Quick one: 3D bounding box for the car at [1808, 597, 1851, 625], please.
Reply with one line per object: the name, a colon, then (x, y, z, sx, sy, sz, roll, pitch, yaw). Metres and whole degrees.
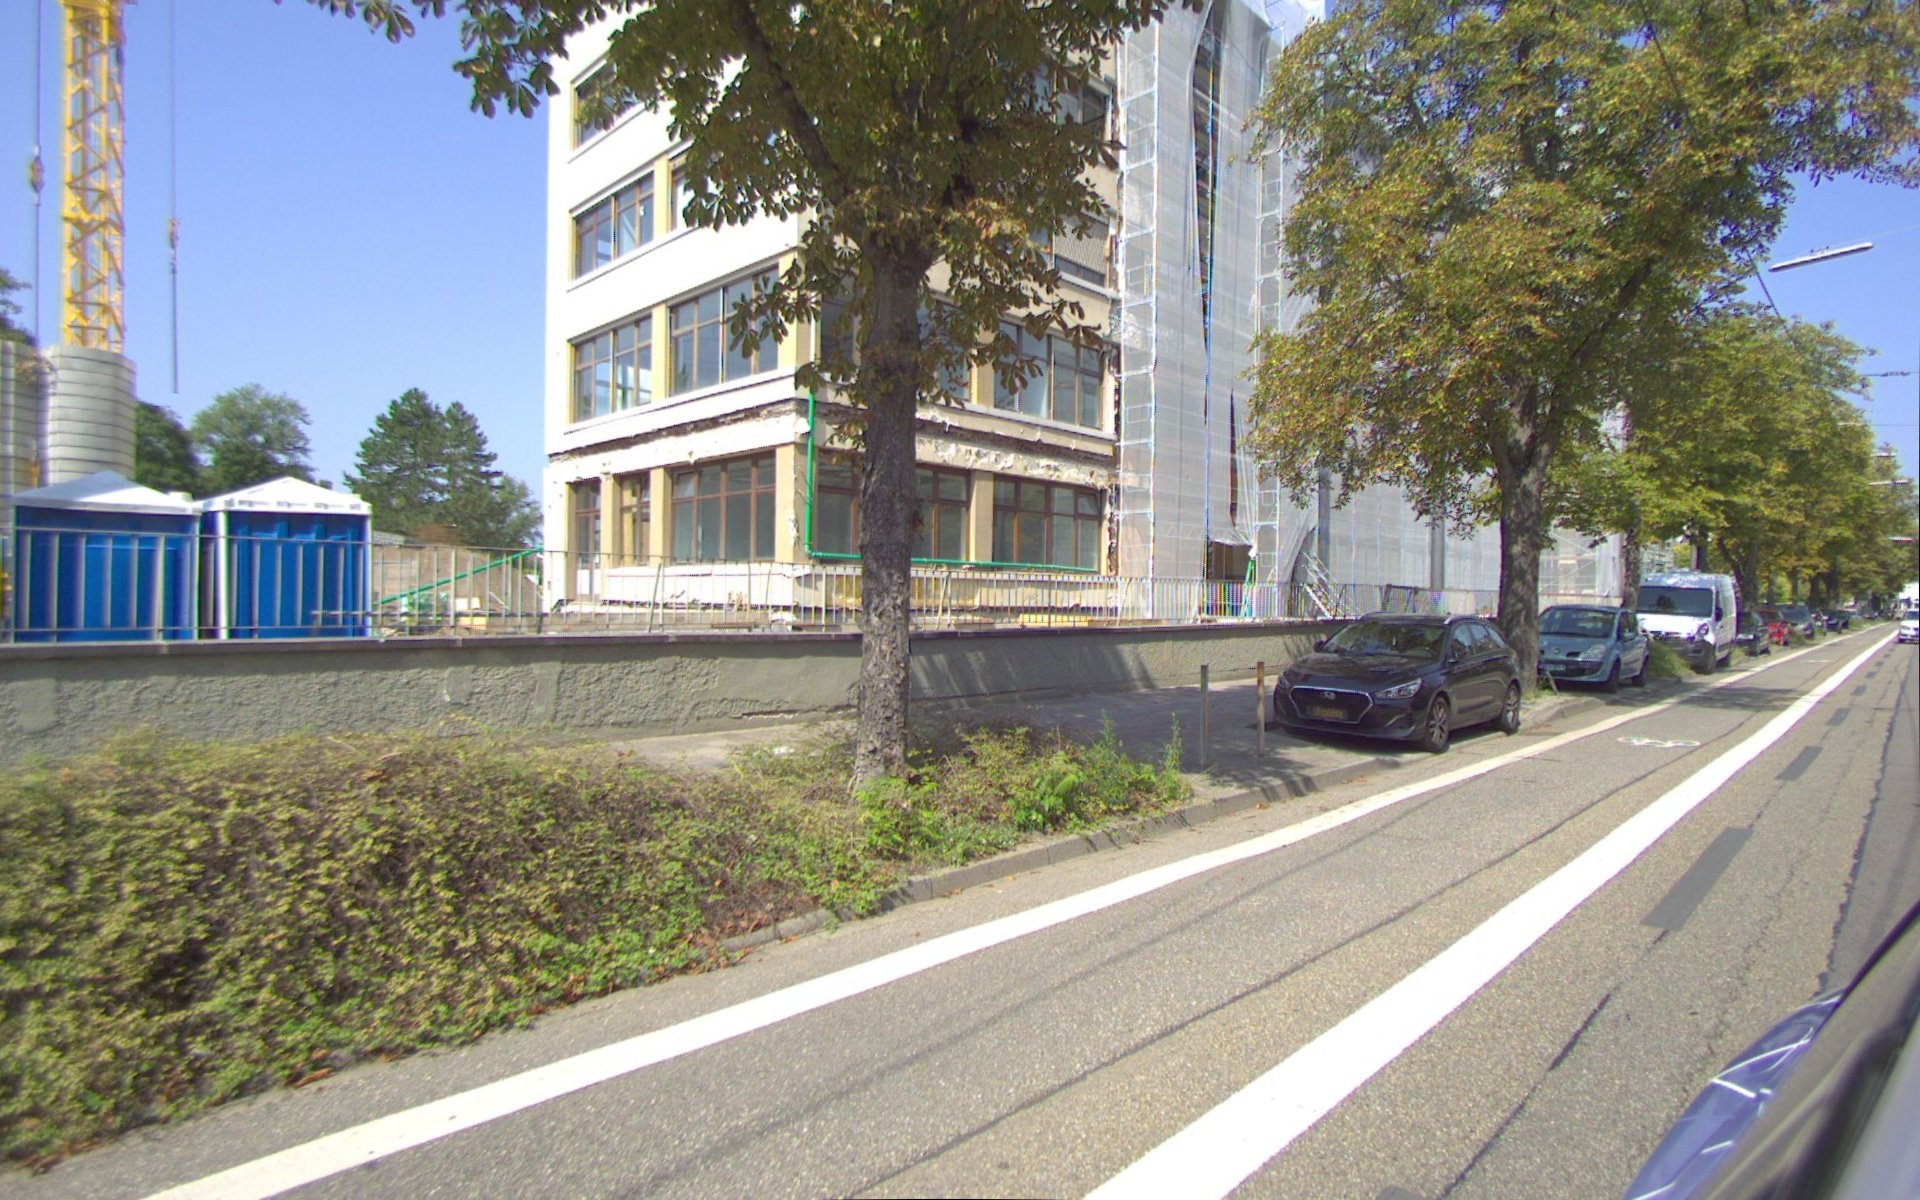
car: (53.818, 0.681, 62.633, 4.016, 1.590, 1.642, 1, 1, -44)

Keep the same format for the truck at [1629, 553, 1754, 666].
truck: (18.987, 0.209, 26.151, 1.916, 2.632, 5.504, 0, 0, 43)

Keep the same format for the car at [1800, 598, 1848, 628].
car: (47.505, 0.712, 55.629, 3.934, 1.590, 1.686, 0, 0, -45)

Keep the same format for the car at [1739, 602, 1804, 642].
car: (32.883, 0.840, 40.992, 1.685, 1.519, 4.066, 0, 0, 44)

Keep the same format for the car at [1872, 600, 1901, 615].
car: (95.817, 0.771, 104.624, 3.934, 1.549, 1.995, 0, 0, -45)

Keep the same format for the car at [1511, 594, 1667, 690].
car: (12.282, 0.715, 19.646, 1.675, 1.599, 4.104, 3, 2, 45)

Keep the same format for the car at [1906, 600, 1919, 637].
car: (41.104, 0.756, 42.577, 1.820, 1.511, 3.954, 1, 1, 45)

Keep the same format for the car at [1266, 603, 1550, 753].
car: (5.665, 0.792, 12.463, 1.675, 1.476, 4.588, 2, 1, 45)

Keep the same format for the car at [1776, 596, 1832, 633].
car: (40.210, 0.663, 48.163, 1.762, 1.710, 4.575, 0, 0, 44)

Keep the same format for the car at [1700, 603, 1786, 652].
car: (25.894, 0.852, 33.396, 1.686, 1.458, 4.725, 0, 0, 45)
